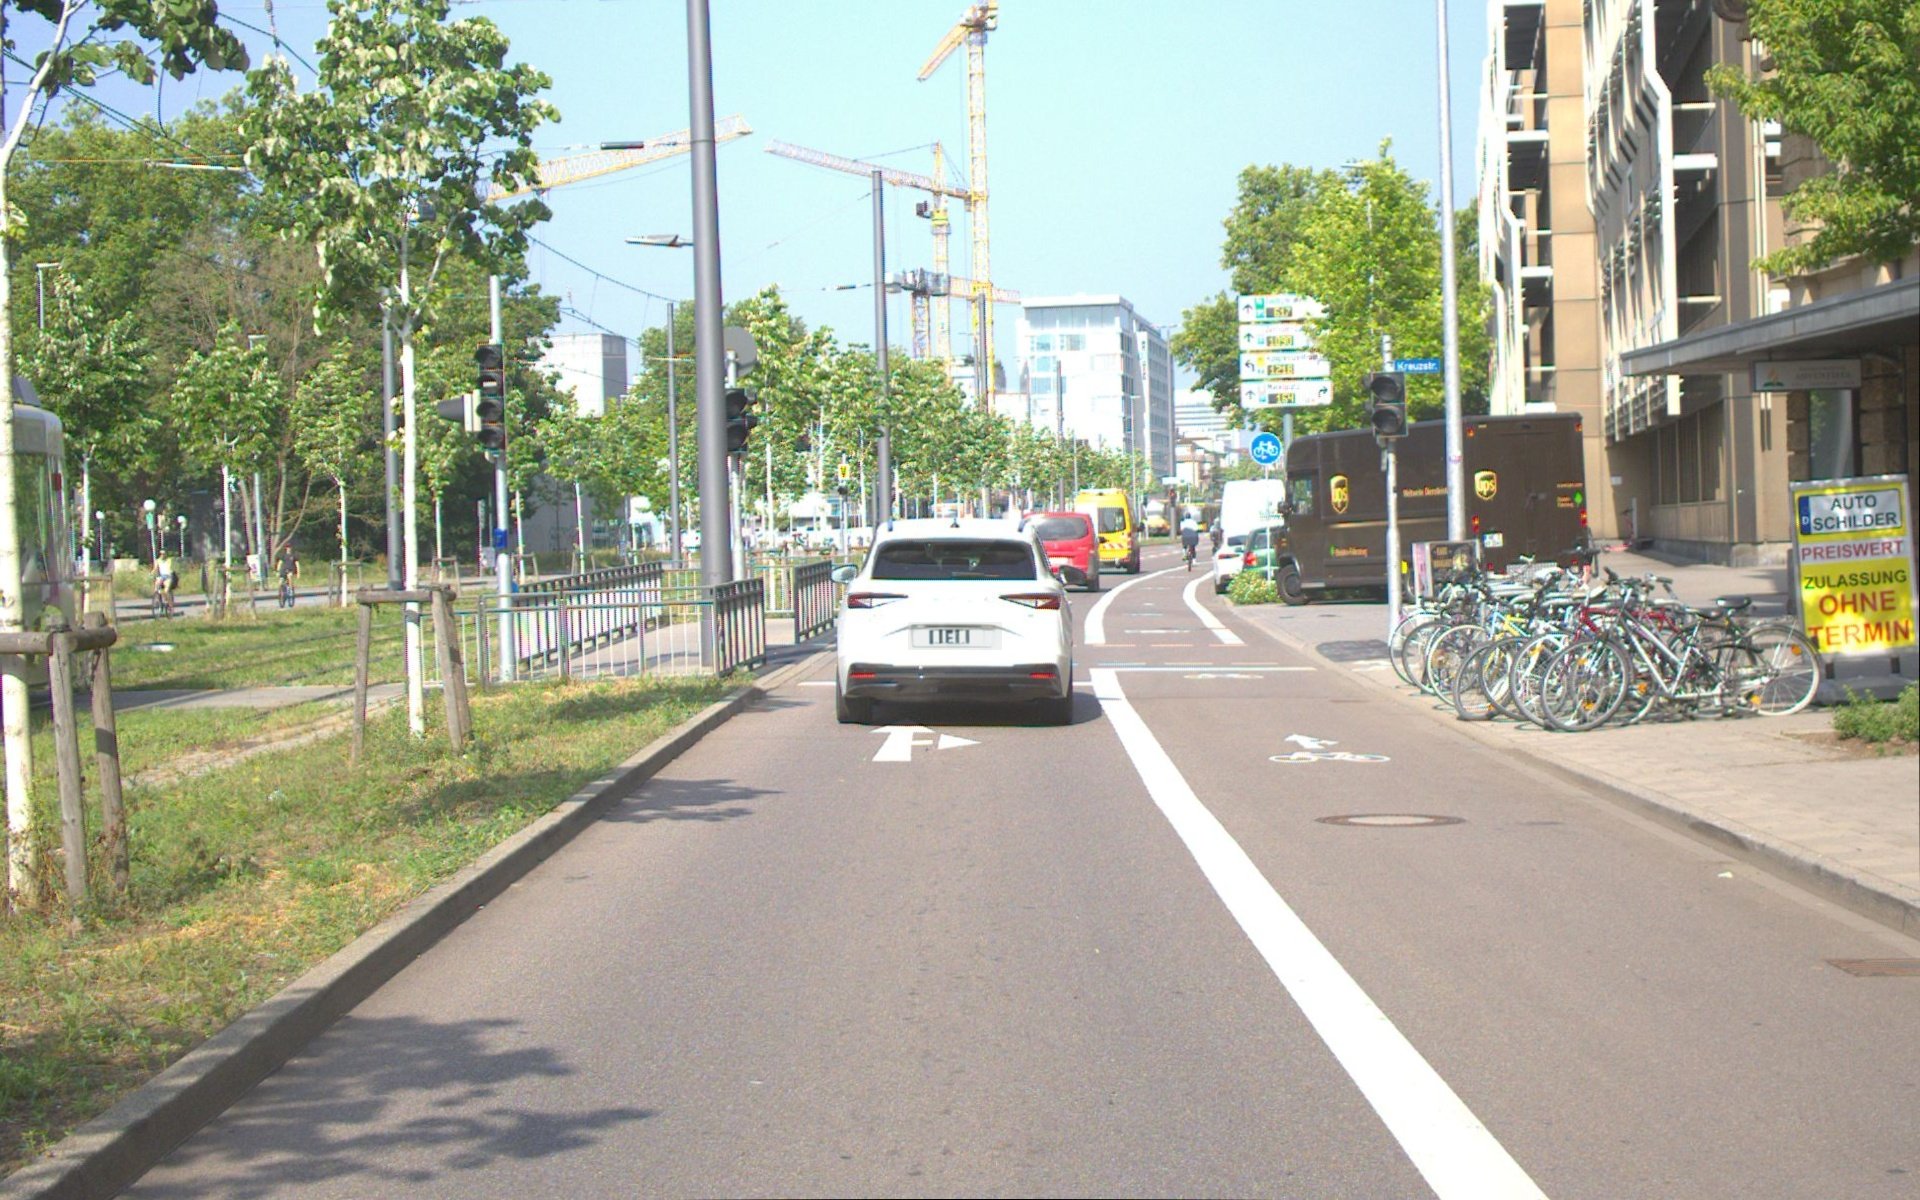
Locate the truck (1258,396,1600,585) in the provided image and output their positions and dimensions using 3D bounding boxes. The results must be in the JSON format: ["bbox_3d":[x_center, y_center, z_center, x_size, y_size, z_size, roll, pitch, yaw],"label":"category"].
[{"bbox_3d":[7.846,-1.822,58.520,2.509,3.001,6.962,-2,1,-23],"label":"truck"}]

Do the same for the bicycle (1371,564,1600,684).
[{"bbox_3d":[4.666,0.214,30.582,1.934,0.942,0.428,-3,1,3],"label":"bicycle"}]

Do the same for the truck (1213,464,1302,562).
[{"bbox_3d":[7.855,-2.303,91.033,1.993,2.499,4.000,-1,1,1],"label":"truck"}]

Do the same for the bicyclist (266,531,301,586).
[{"bbox_3d":[-18.948,-1.173,96.269,0.696,1.510,1.186,-1,1,1],"label":"bicyclist"}]

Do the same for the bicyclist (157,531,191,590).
[{"bbox_3d":[-19.143,-0.961,83.722,0.538,1.417,0.900,-1,1,3],"label":"bicyclist"}]

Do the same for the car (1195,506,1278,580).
[{"bbox_3d":[5.886,-1.226,72.888,1.650,1.494,3.526,-1,1,6],"label":"car"}]

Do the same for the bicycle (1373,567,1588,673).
[{"bbox_3d":[4.792,0.185,31.723,1.887,0.860,0.428,-3,1,3],"label":"bicycle"}]

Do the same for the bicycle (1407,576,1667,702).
[{"bbox_3d":[4.551,0.306,27.177,1.934,0.871,0.441,-3,1,1],"label":"bicycle"}]

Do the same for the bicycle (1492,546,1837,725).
[{"bbox_3d":[4.911,0.240,24.033,2.239,1.100,0.588,-3,1,1],"label":"bicycle"}]

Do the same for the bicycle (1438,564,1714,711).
[{"bbox_3d":[4.645,0.276,25.976,1.955,0.983,0.471,-3,1,1],"label":"bicycle"}]

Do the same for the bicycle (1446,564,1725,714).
[{"bbox_3d":[4.629,0.282,25.496,1.934,0.983,0.471,-3,1,1],"label":"bicycle"}]

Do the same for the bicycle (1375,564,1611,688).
[{"bbox_3d":[4.607,0.223,29.756,1.934,0.942,0.440,-3,1,3],"label":"bicycle"}]

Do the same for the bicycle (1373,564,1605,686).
[{"bbox_3d":[4.629,0.219,30.139,1.934,0.942,0.428,-3,1,3],"label":"bicycle"}]

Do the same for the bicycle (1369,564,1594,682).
[{"bbox_3d":[4.700,0.209,31.047,1.934,0.942,0.428,-3,1,3],"label":"bicycle"}]

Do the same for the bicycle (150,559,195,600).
[{"bbox_3d":[-19.145,-0.511,83.618,0.538,0.955,1.917,-1,1,3],"label":"bicycle"}]

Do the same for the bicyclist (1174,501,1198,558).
[{"bbox_3d":[7.541,-2.344,114.592,0.709,1.889,0.843,-1,1,0],"label":"bicyclist"}]

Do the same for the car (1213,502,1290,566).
[{"bbox_3d":[6.576,-1.492,77.318,1.650,1.380,3.526,-1,1,6],"label":"car"}]

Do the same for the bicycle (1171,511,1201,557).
[{"bbox_3d":[7.536,-2.204,114.757,0.781,1.491,2.801,-1,1,0],"label":"bicycle"}]

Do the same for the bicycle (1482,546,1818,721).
[{"bbox_3d":[4.924,0.233,24.588,2.239,1.100,0.519,-3,1,1],"label":"bicycle"}]

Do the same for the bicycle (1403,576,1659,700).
[{"bbox_3d":[4.579,0.301,27.621,1.934,0.871,0.441,-3,1,1],"label":"bicycle"}]

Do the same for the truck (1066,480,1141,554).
[{"bbox_3d":[4.628,-2.690,111.529,2.213,2.310,5.890,-1,1,1],"label":"truck"}]

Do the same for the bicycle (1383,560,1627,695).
[{"bbox_3d":[4.563,0.226,28.830,1.934,1.009,0.440,-3,1,3],"label":"bicycle"}]

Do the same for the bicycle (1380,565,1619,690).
[{"bbox_3d":[4.585,0.229,29.276,1.934,0.942,0.440,-3,1,3],"label":"bicycle"}]

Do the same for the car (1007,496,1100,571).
[{"bbox_3d":[2.214,-1.570,80.665,1.994,1.678,4.369,-1,1,4],"label":"car"}]

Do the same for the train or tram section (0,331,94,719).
[{"bbox_3d":[-10.259,-0.613,28.782,2.898,3.574,12.226,-2,1,0],"label":"train or tram section"}]

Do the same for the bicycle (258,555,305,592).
[{"bbox_3d":[-18.962,-0.746,96.134,0.696,0.987,2.824,-1,1,1],"label":"bicycle"}]

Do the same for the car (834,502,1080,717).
[{"bbox_3d":[-0.075,0.029,27.838,1.817,1.584,4.407,-1,1,-1],"label":"car"}]
